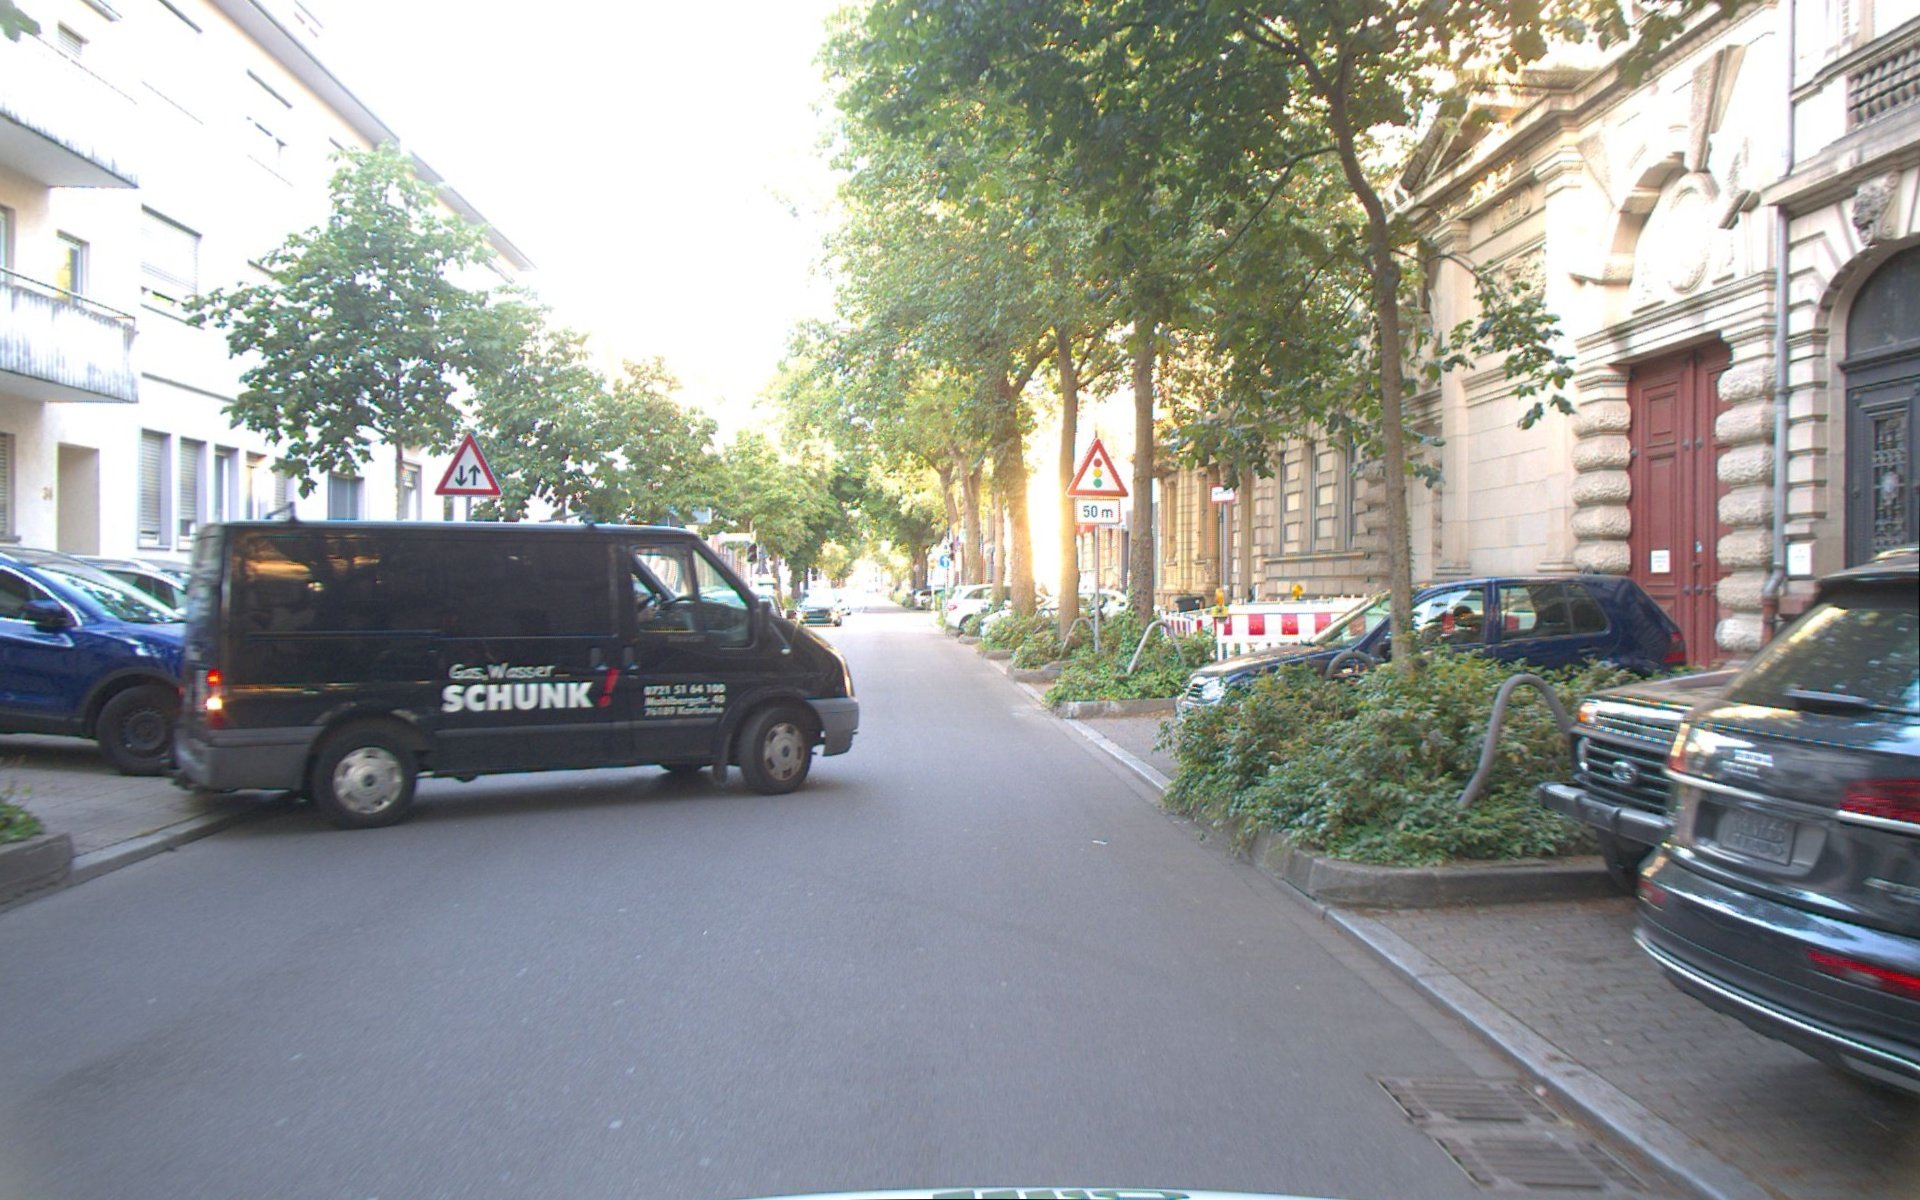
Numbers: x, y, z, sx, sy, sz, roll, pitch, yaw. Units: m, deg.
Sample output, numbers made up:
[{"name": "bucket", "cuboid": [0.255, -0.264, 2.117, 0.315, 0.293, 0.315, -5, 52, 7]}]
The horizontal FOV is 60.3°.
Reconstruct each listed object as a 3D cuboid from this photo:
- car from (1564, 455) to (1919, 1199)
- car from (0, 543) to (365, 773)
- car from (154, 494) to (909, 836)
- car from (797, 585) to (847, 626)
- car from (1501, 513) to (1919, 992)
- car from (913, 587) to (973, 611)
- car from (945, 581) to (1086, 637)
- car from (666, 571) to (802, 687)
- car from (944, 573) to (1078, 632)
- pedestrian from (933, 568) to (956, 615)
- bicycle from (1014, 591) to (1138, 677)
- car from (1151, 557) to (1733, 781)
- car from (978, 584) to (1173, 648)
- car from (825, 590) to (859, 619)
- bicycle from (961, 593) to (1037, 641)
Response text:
[{"name": "car", "cuboid": [4.168, 0.523, 4.430, 4.351, 1.748, 1.967, -1, 0, -3]}, {"name": "car", "cuboid": [-7.248, 0.372, 13.171, 4.268, 1.600, 1.929, 3, 0, -3]}, {"name": "car", "cuboid": [-3.032, 0.359, 12.025, 4.940, 2.025, 2.166, 0, 1, -32]}, {"name": "car", "cuboid": [-5.488, 0.202, 65.986, 1.839, 1.576, 4.272, -1, 0, -3]}, {"name": "car", "cuboid": [4.520, 0.518, 6.928, 3.928, 1.716, 1.764, -1, 1, -3]}, {"name": "car", "cuboid": [-1.234, -0.082, 115.770, 4.109, 1.506, 1.851, -1, 0, -3]}, {"name": "car", "cuboid": [1.641, 0.253, 49.669, 4.138, 1.587, 1.971, -1, 1, 0]}, {"name": "car", "cuboid": [-3.535, 0.405, 26.583, 1.840, 1.669, 4.642, -1, 0, -4]}, {"name": "car", "cuboid": [1.735, 0.066, 57.293, 4.452, 1.948, 1.948, -1, 0, -6]}, {"name": "pedestrian", "cuboid": [-0.757, -0.400, 79.348, 1.022, 2.184, 1.063, 1, -1, -3]}, {"name": "bicycle", "cuboid": [1.955, 0.566, 27.905, 2.006, 1.384, 0.508, 2, 0, -5]}, {"name": "car", "cuboid": [3.786, 0.509, 13.481, 4.140, 1.507, 1.854, -3, 0, -3]}, {"name": "car", "cuboid": [2.711, 0.371, 39.440, 4.490, 1.462, 1.925, 0, 1, -1]}, {"name": "car", "cuboid": [-6.561, 0.236, 92.361, 1.840, 1.576, 4.272, -1, 0, -4]}, {"name": "bicycle", "cuboid": [1.063, 0.453, 44.983, 1.986, 1.225, 0.486, -2, 0, -16]}]
